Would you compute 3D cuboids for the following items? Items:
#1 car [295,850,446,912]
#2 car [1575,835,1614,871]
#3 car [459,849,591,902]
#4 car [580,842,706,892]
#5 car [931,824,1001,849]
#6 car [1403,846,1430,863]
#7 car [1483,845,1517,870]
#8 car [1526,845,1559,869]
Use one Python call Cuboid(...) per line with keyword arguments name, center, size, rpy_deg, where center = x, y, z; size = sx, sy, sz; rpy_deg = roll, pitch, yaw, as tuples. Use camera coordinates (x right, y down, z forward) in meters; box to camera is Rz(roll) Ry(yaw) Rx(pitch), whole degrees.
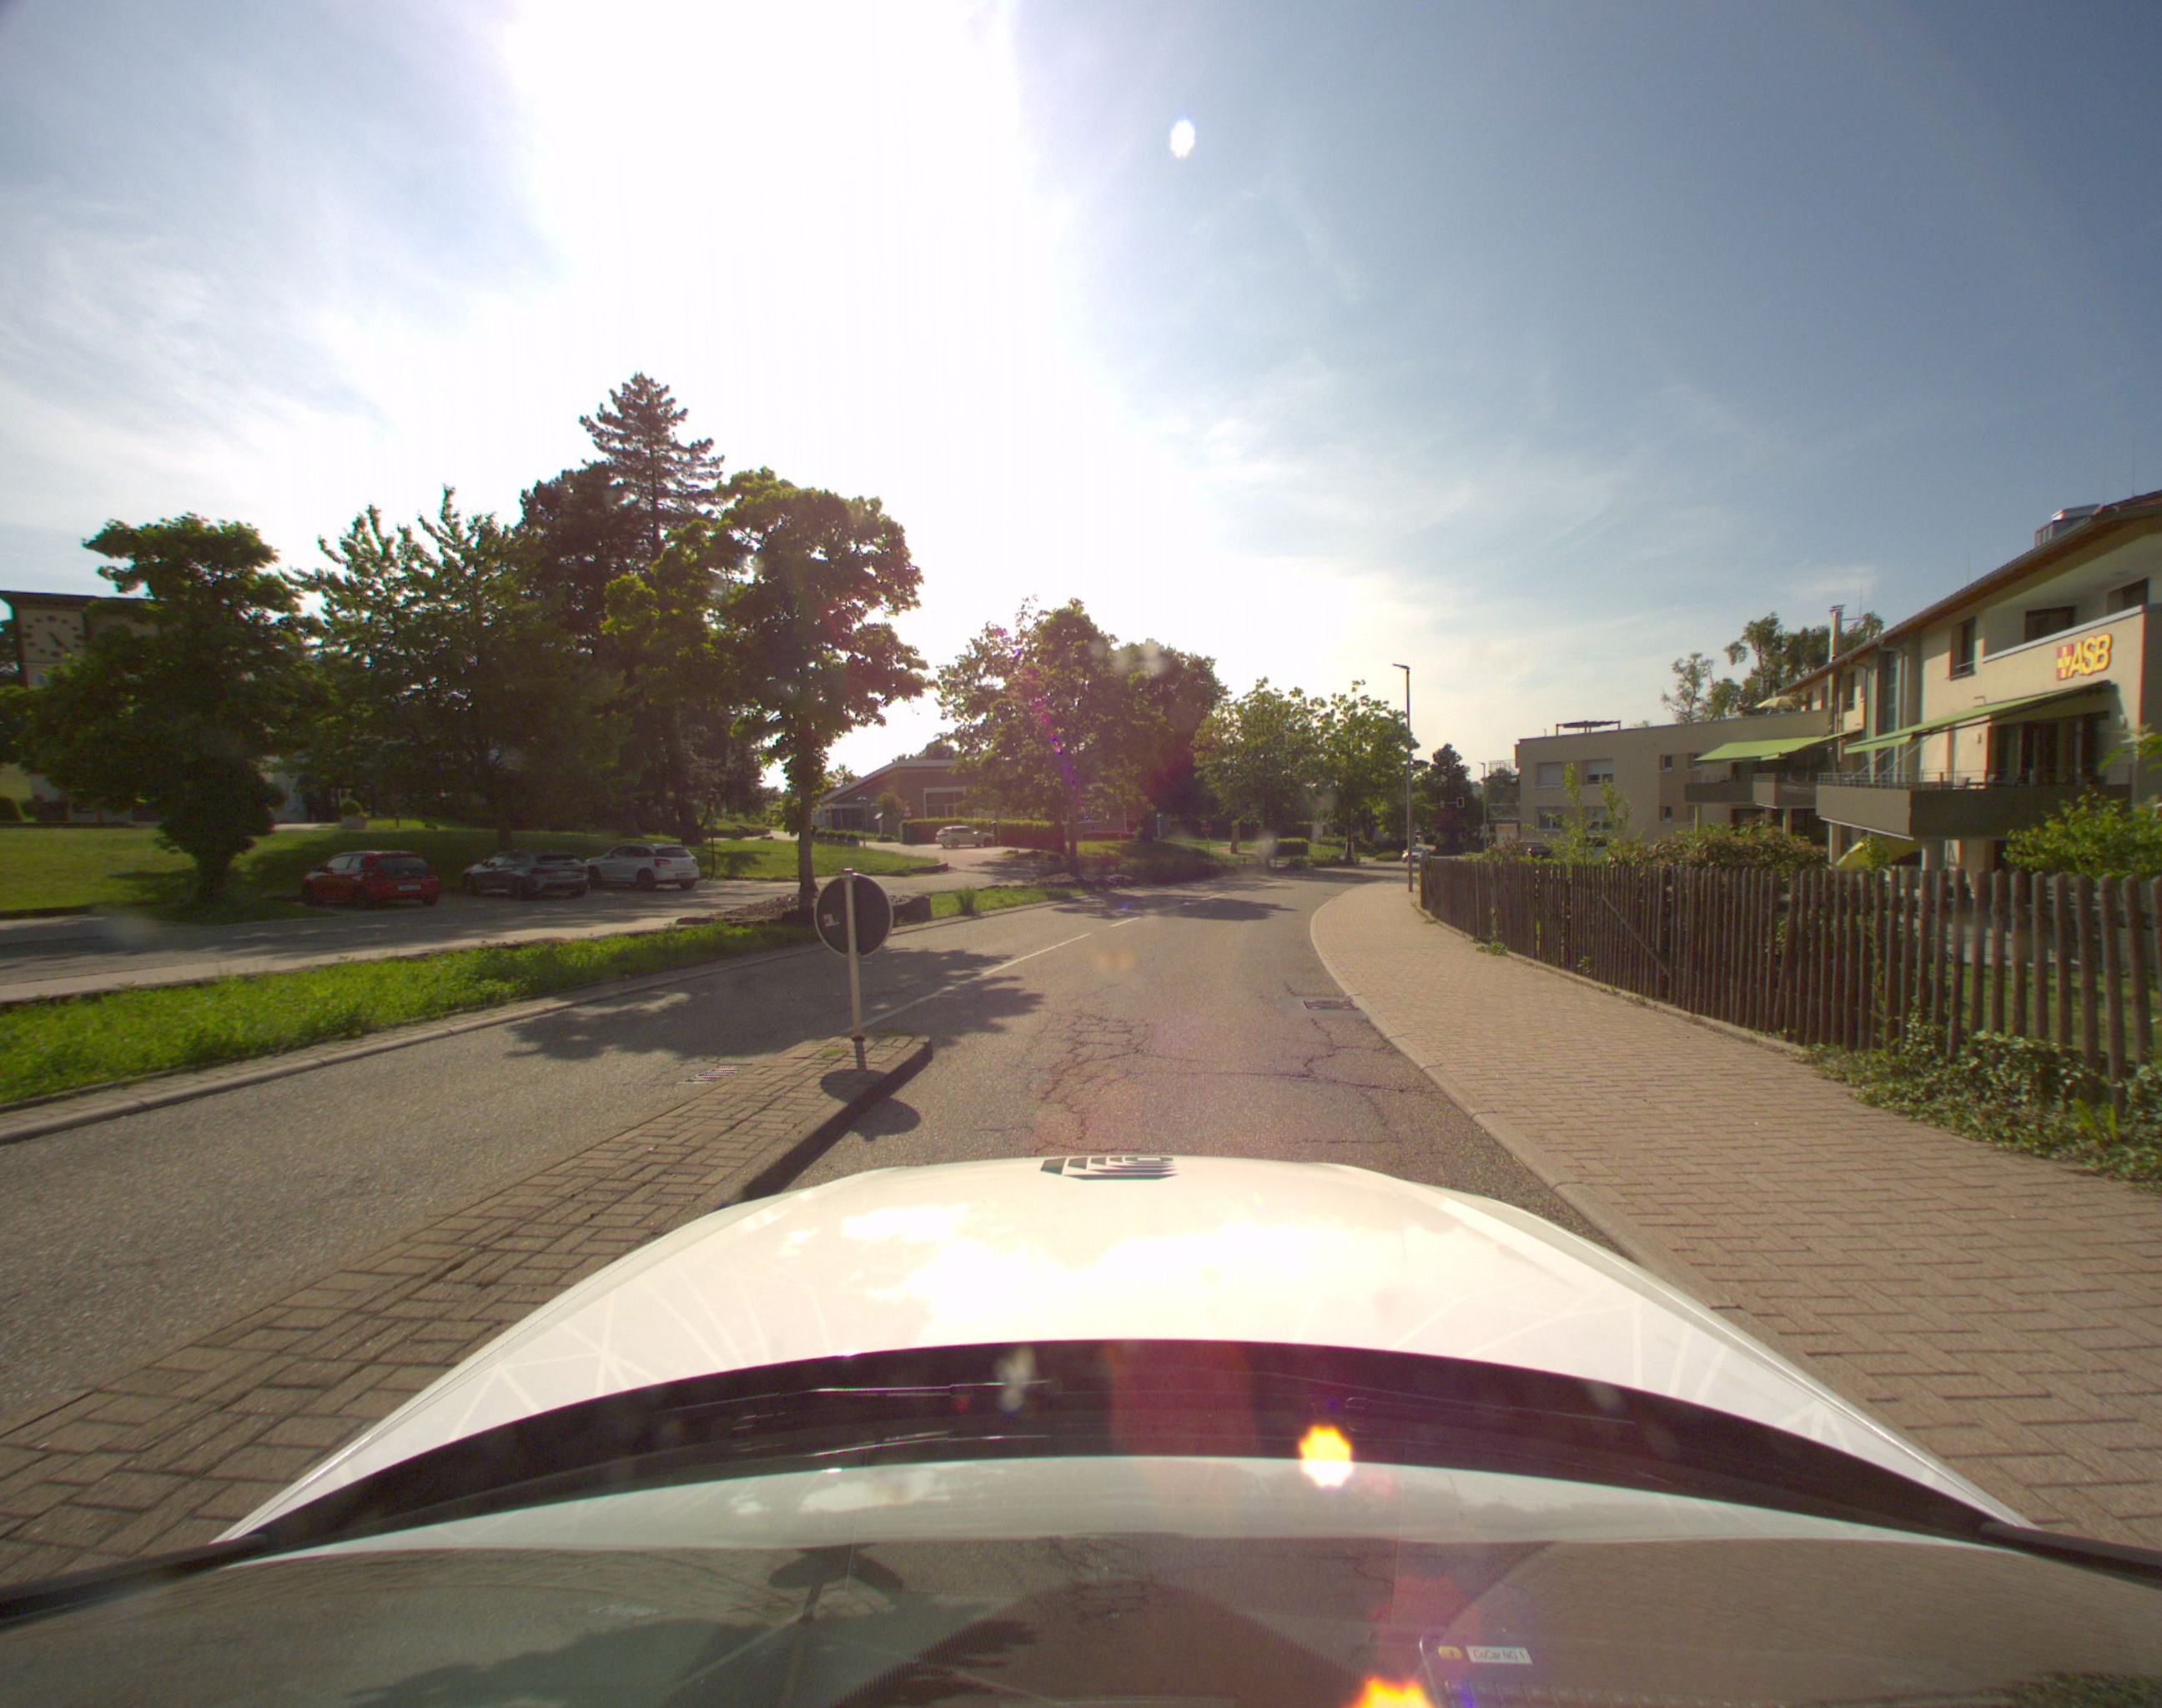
Cuboid(name="car", center=(-18.842, 0.657, 21.619), size=(3.170, 1.470, 1.786), rpy_deg=(1, 1, 22))
Cuboid(name="car", center=(29.546, -0.070, 46.917), size=(1.786, 1.935, 4.764), rpy_deg=(0, 0, 31))
Cuboid(name="car", center=(-16.745, 0.583, 24.530), size=(3.667, 1.433, 1.787), rpy_deg=(1, 1, 28))
Cuboid(name="car", center=(-15.209, 0.403, 28.284), size=(3.894, 1.609, 1.786), rpy_deg=(1, 1, 23))
Cuboid(name="car", center=(-8.535, -1.317, 60.664), size=(4.749, 1.533, 1.980), rpy_deg=(-4, 7, -33))
Cuboid(name="car", center=(30.372, 0.016, 73.671), size=(1.712, 1.443, 4.090), rpy_deg=(1, 1, 30))
Cuboid(name="car", center=(27.489, 0.204, 53.401), size=(1.692, 1.535, 4.032), rpy_deg=(0, 0, 31))
Cuboid(name="car", center=(29.007, 0.188, 51.157), size=(1.692, 1.427, 4.032), rpy_deg=(0, 0, 31))
